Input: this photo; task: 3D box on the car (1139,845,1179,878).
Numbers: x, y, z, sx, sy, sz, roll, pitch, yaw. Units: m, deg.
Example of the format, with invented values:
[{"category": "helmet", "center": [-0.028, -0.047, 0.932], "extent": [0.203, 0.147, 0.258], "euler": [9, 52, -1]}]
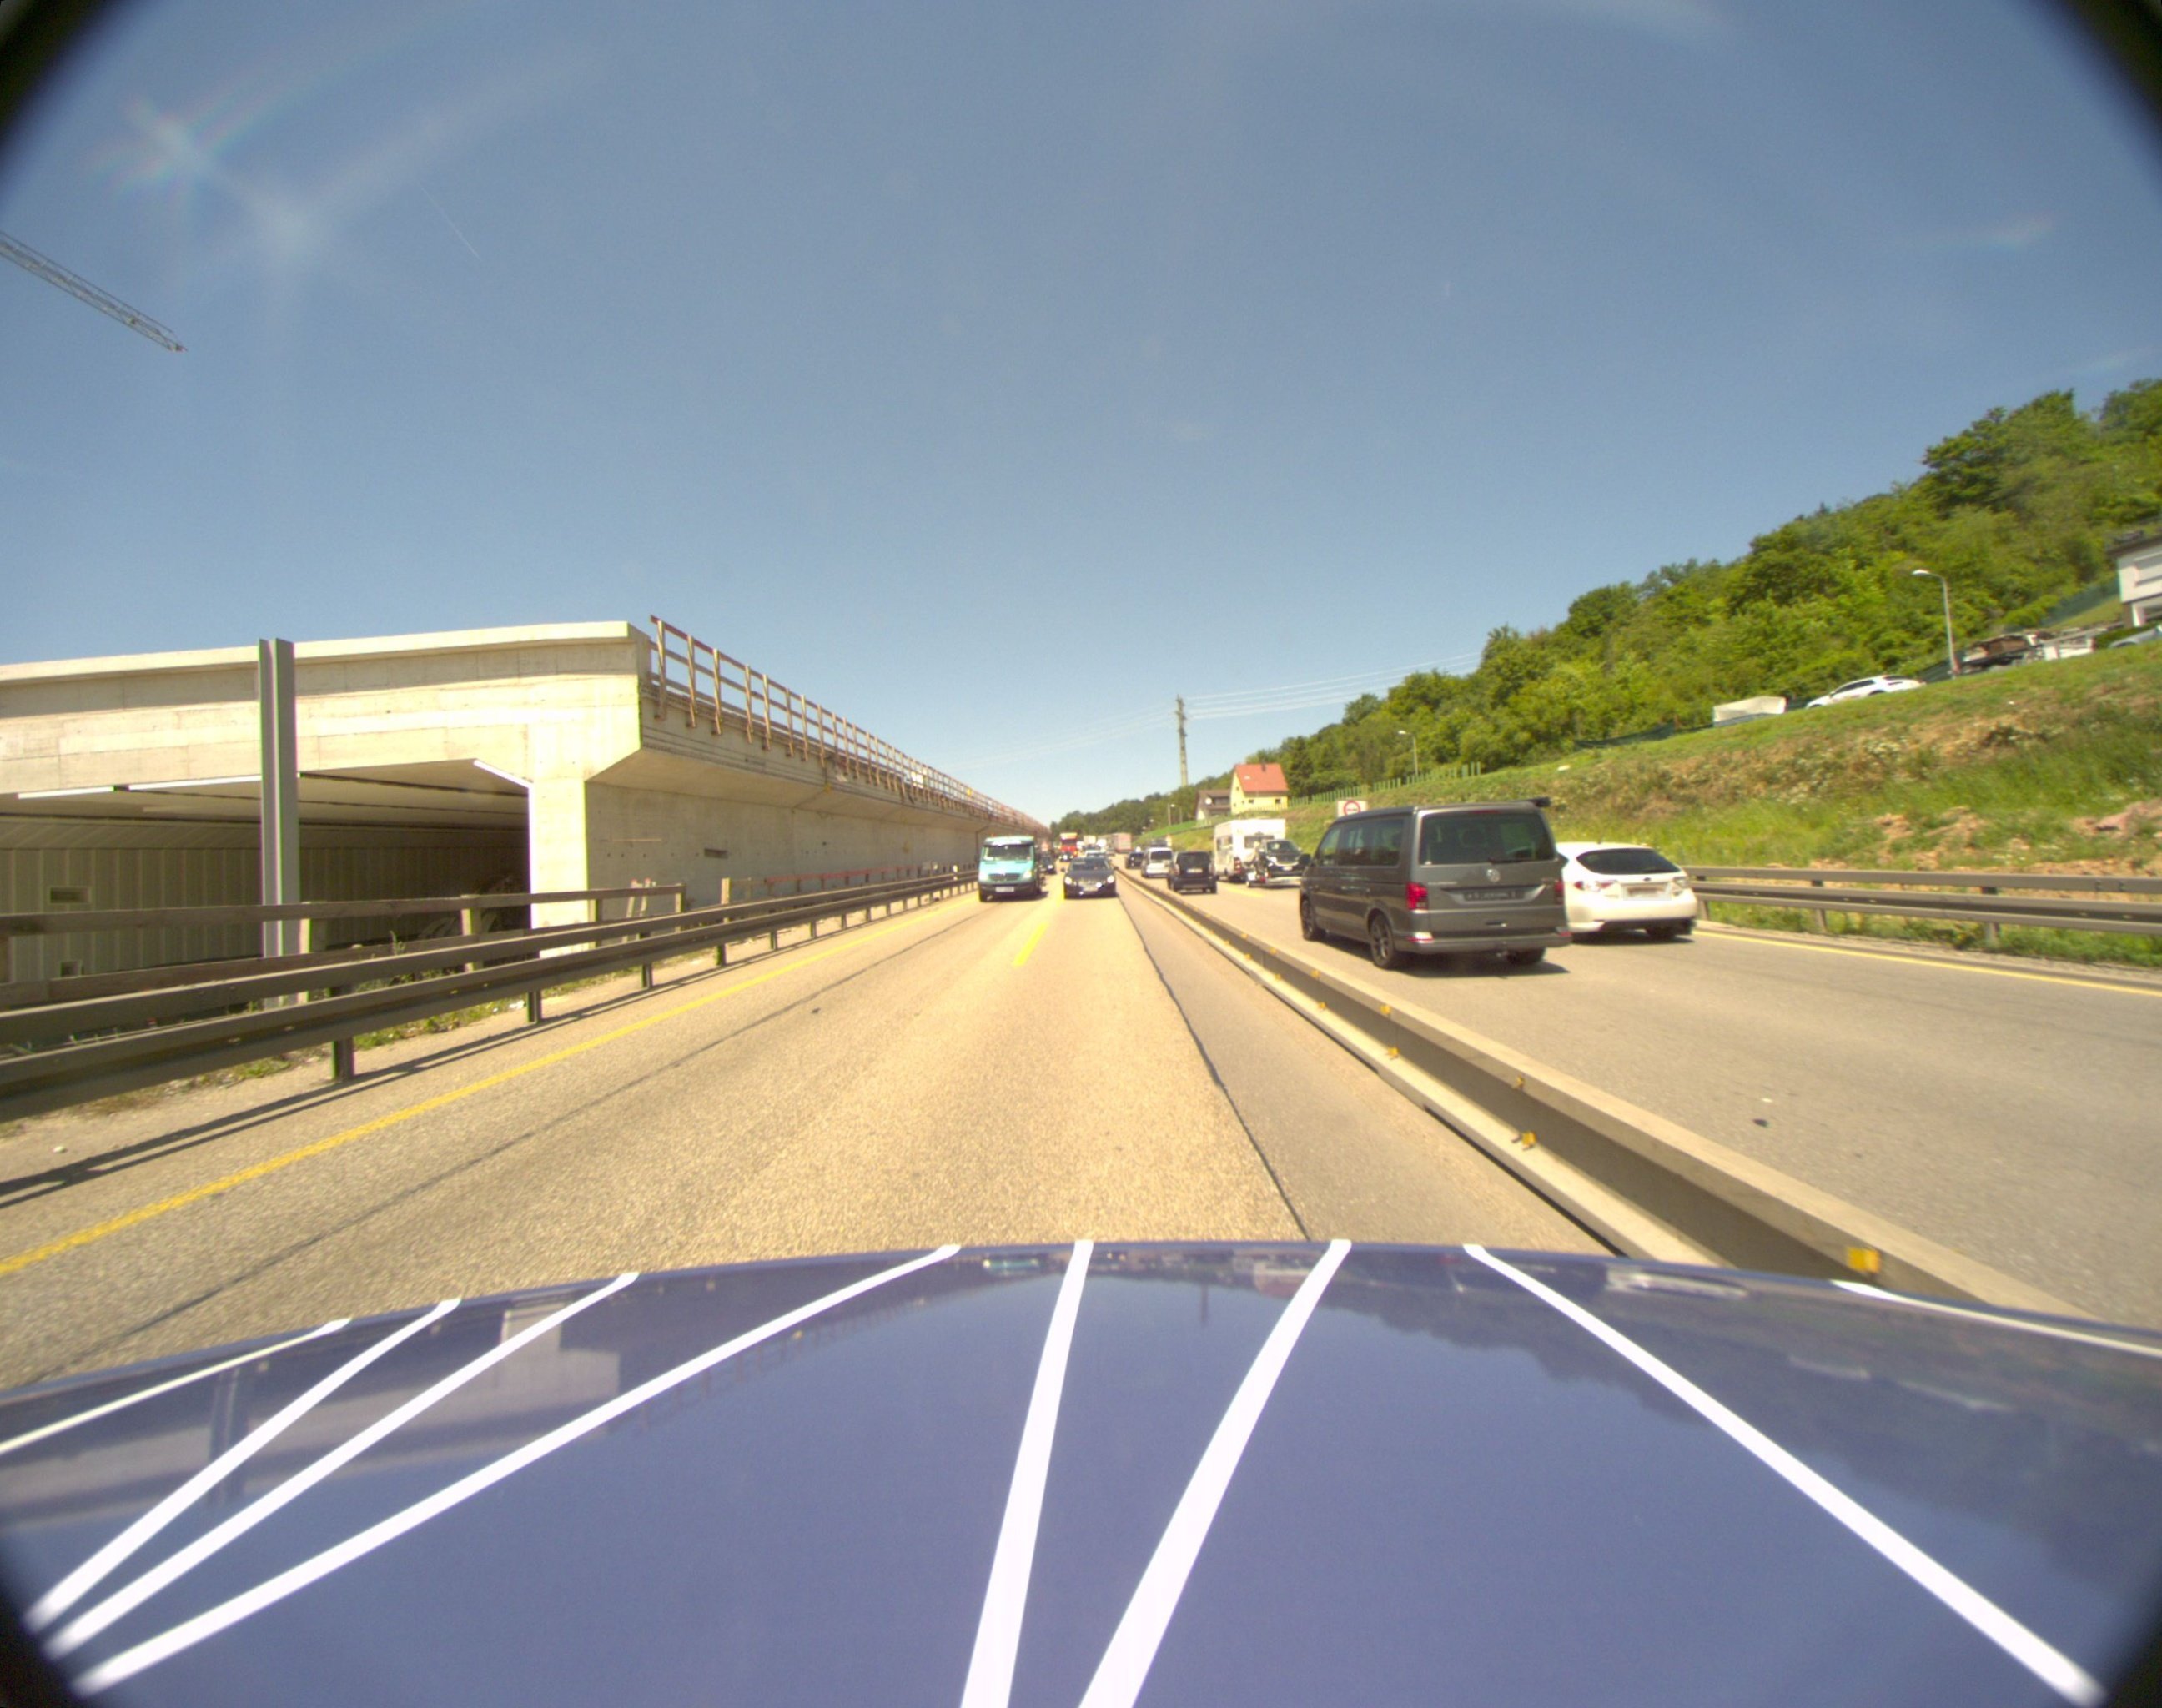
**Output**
[{"category": "car", "center": [4.626, 0.411, 45.837], "extent": [1.842, 1.817, 5.039], "euler": [-2, 0, 0]}]

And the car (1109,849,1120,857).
[{"category": "car", "center": [5.966, -0.158, 136.963], "extent": [1.834, 1.425, 4.629], "euler": [-1, 1, 1]}]

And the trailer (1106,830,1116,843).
[{"category": "trailer", "center": [10.614, -6.173, 268.404], "extent": [3.111, 4.417, 14.625], "euler": [-2, 2, 0]}]

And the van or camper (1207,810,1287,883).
[{"category": "van or camper", "center": [7.726, -0.349, 36.211], "extent": [2.297, 3.049, 6.923], "euler": [-2, 0, 1]}]

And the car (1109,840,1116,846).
[{"category": "car", "center": [8.895, -3.163, 215.337], "extent": [1.998, 1.499, 5.299], "euler": [-2, 2, 1]}]

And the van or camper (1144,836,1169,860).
[{"category": "van or camper", "center": [8.391, -0.675, 85.369], "extent": [2.145, 2.558, 6.564], "euler": [-2, 1, 1]}]

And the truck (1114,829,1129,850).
[{"category": "truck", "center": [8.792, -3.121, 165.284], "extent": [2.627, 4.371, 10.383], "euler": [-2, 1, 1]}]

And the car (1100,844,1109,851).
[{"category": "car", "center": [4.936, -1.321, 160.386], "extent": [1.806, 1.455, 4.000], "euler": [-2, 1, 1]}]

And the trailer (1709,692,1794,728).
[{"category": "trailer", "center": [37.428, -8.011, 42.516], "extent": [1.908, 1.507, 3.034], "euler": [-2, 2, -10]}]

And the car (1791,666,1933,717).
[{"category": "car", "center": [38.176, -7.908, 37.326], "extent": [2.000, 1.646, 4.548], "euler": [-2, 2, -9]}]

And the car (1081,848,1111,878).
[{"category": "car", "center": [1.069, 0.570, 51.633], "extent": [1.884, 1.805, 4.250], "euler": [-2, 2, 3]}]

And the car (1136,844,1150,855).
[{"category": "car", "center": [9.383, -0.639, 115.706], "extent": [1.777, 1.573, 4.285], "euler": [-3, 1, 1]}]

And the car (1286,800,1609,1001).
[{"category": "car", "center": [4.420, 0.456, 10.241], "extent": [1.915, 2.002, 4.905], "euler": [-2, 1, -1]}]

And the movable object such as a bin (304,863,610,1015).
[{"category": "movable object such as a bin", "center": [-21.119, 2.555, 26.847], "extent": [2.961, 4.040, 9.153], "euler": [-2, 2, 0]}]

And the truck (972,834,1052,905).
[{"category": "truck", "center": [-2.448, 0.424, 29.172], "extent": [2.139, 2.344, 7.431], "euler": [-2, 2, 1]}]

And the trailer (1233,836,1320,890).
[{"category": "trailer", "center": [7.634, 0.299, 30.238], "extent": [2.106, 1.883, 5.141], "euler": [-2, 0, 1]}]

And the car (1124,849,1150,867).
[{"category": "car", "center": [4.824, 0.349, 66.136], "extent": [1.847, 1.467, 4.834], "euler": [-2, 0, 1]}]

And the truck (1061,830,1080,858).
[{"category": "truck", "center": [-1.693, -1.668, 122.422], "extent": [2.750, 4.222, 9.093], "euler": [-2, 2, 0]}]

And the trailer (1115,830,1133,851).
[{"category": "trailer", "center": [8.787, -2.727, 155.778], "extent": [2.937, 3.966, 8.704], "euler": [-2, 1, -1]}]

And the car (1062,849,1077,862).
[{"category": "car", "center": [-1.546, 0.229, 102.059], "extent": [1.883, 1.533, 4.280], "euler": [-2, 2, 0]}]

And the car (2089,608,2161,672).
[{"category": "car", "center": [39.627, -7.881, 26.859], "extent": [1.999, 1.861, 4.427], "euler": [-2, 2, -5]}]

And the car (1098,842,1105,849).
[{"category": "car", "center": [5.549, -2.246, 209.449], "extent": [1.854, 1.879, 4.501], "euler": [-2, 1, 1]}]

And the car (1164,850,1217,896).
[{"category": "car", "center": [3.884, 0.645, 27.233], "extent": [1.487, 1.496, 2.805], "euler": [-2, 0, 1]}]

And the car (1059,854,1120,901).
[{"category": "car", "center": [0.341, 0.789, 27.670], "extent": [1.998, 1.441, 4.601], "euler": [-2, 1, 1]}]

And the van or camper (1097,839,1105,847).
[{"category": "van or camper", "center": [6.422, -3.465, 240.384], "extent": [2.356, 2.619, 6.901], "euler": [-2, 2, 1]}]

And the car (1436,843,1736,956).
[{"category": "car", "center": [7.728, 0.589, 12.300], "extent": [1.814, 1.423, 4.555], "euler": [-3, 0, 1]}]

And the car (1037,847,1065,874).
[{"category": "car", "center": [-2.248, 0.477, 57.549], "extent": [1.885, 1.805, 4.249], "euler": [-2, 2, 0]}]
